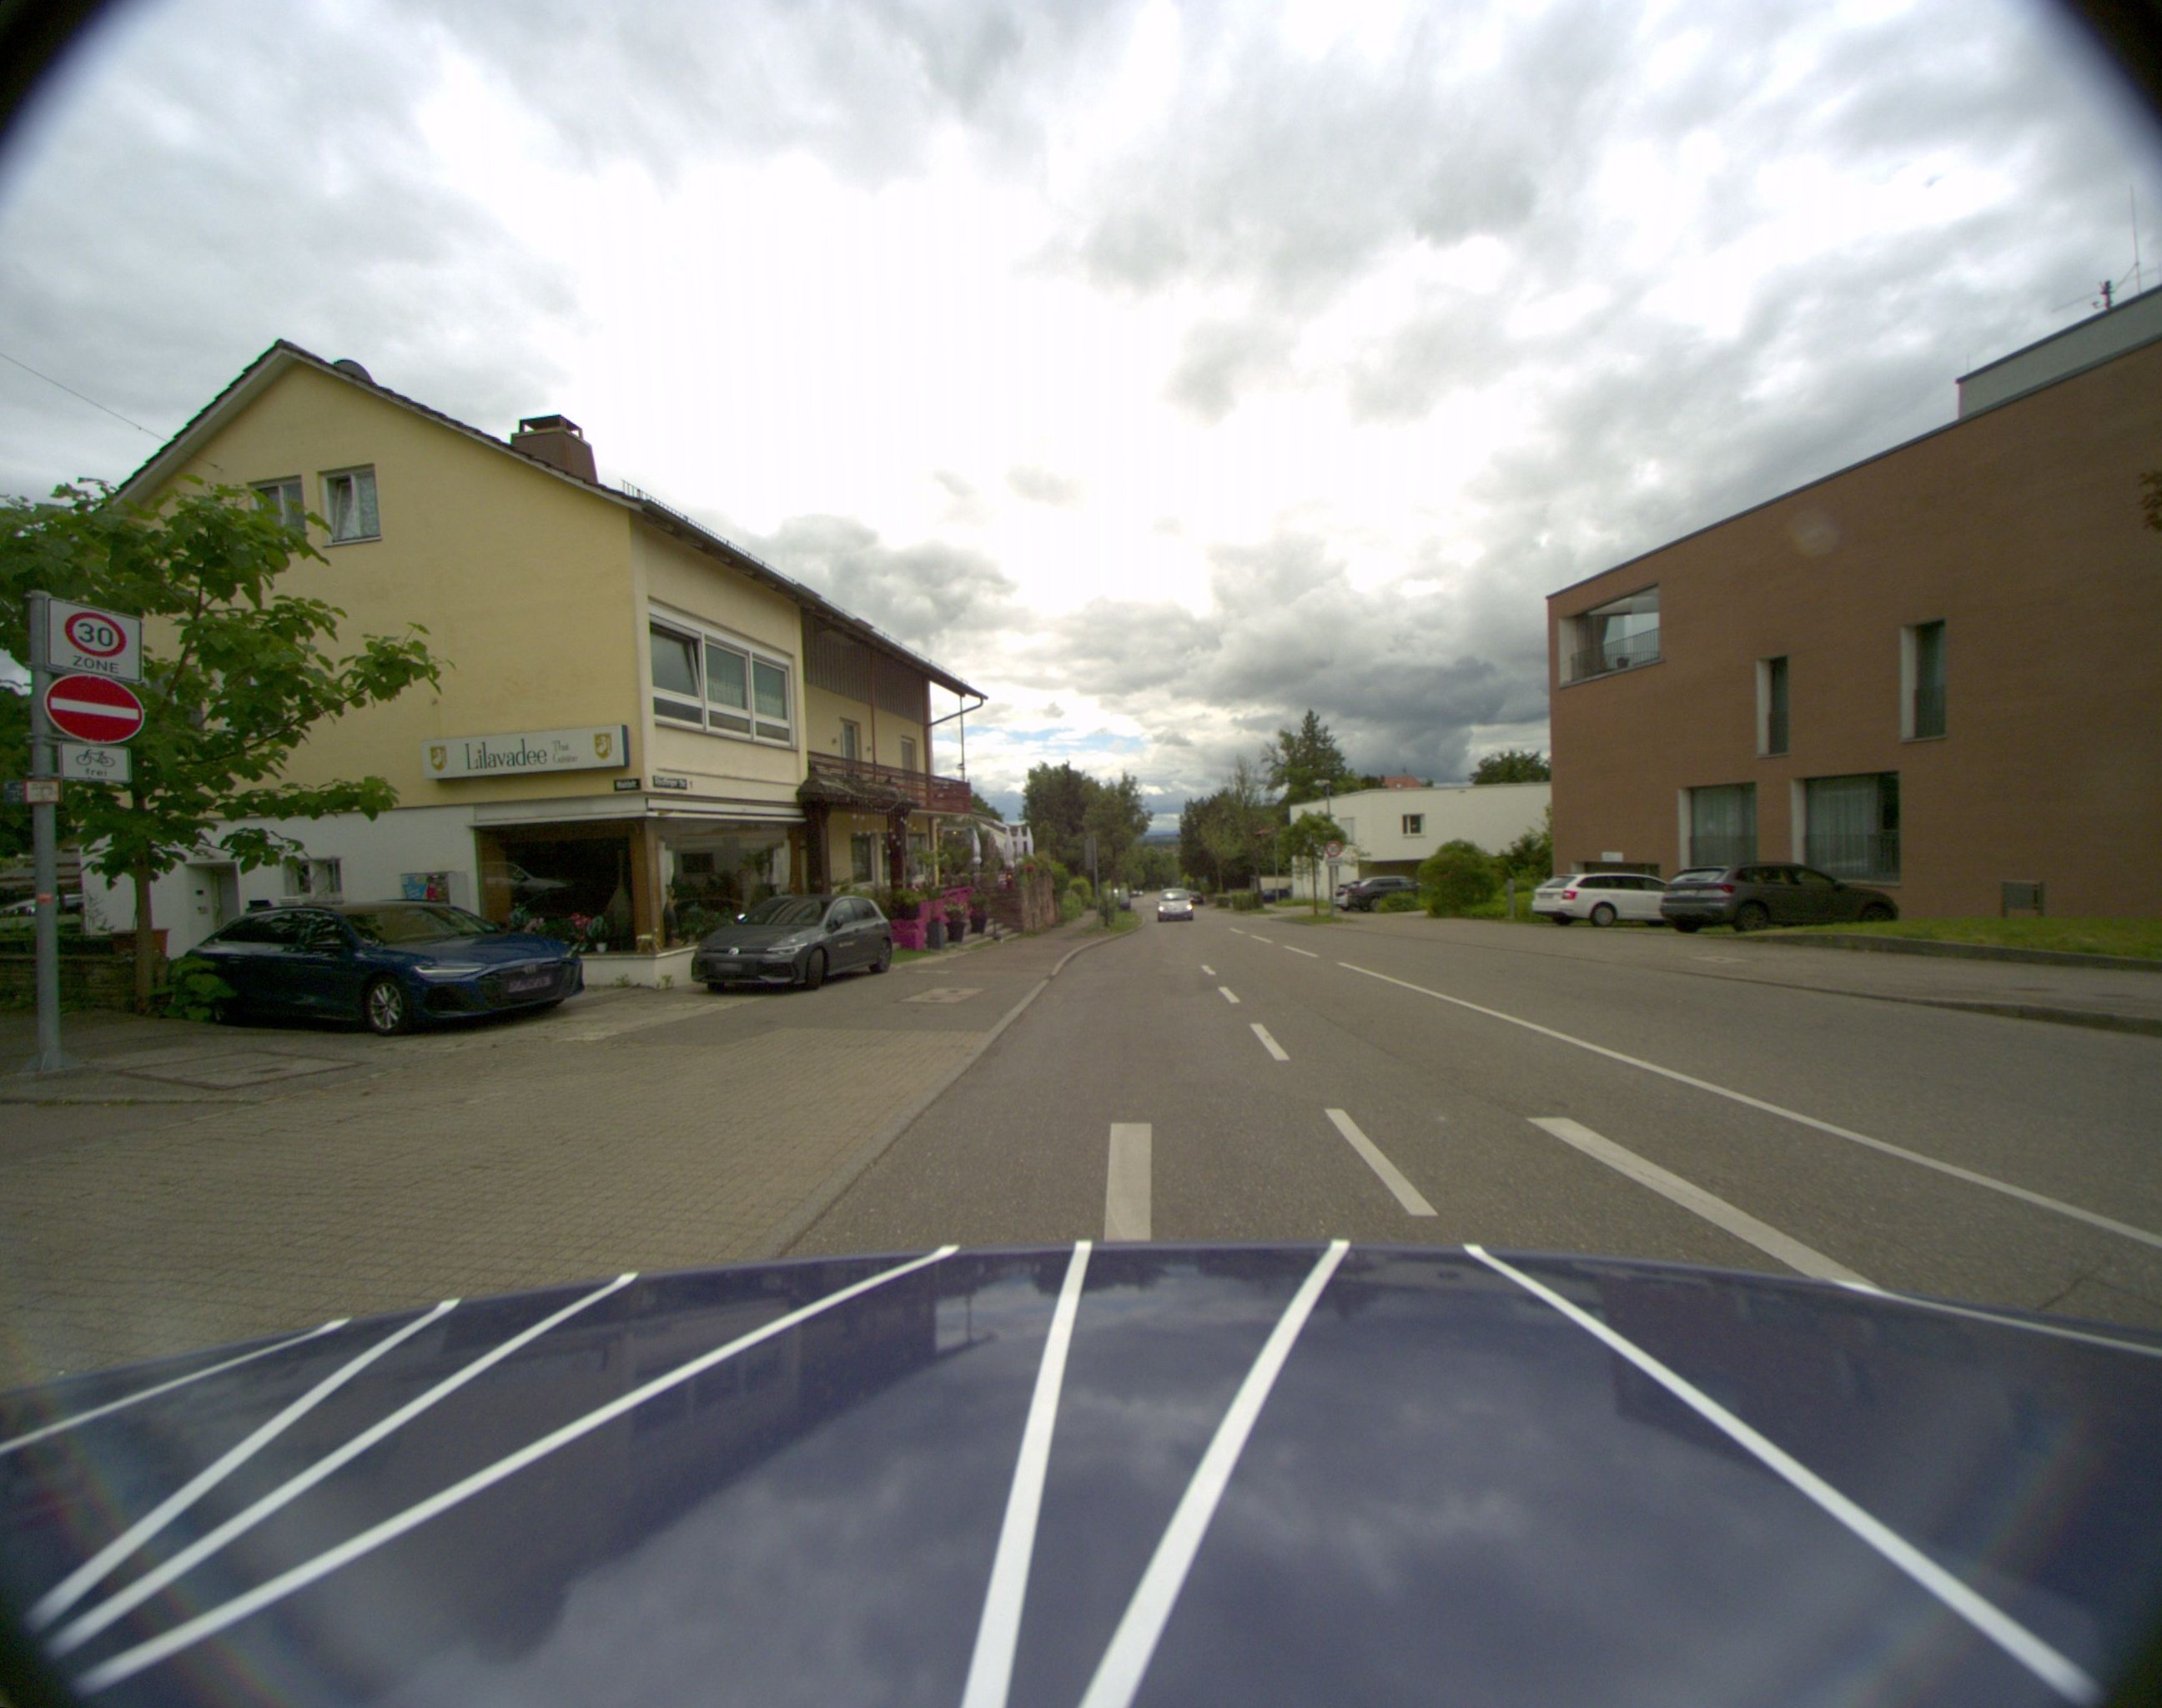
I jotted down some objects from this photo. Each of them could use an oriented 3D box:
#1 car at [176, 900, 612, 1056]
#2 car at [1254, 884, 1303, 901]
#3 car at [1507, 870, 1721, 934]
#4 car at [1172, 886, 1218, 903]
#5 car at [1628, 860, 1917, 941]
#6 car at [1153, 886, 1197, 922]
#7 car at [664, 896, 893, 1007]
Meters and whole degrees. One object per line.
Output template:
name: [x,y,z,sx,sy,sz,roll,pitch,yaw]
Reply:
car: [-8.192,1.372,9.175,4.220,1.519,1.935,-2,-2,16]
car: [19.992,3.921,77.029,4.434,1.548,2.000,-1,-1,-1]
car: [14.408,1.266,20.741,4.434,1.548,2.000,-1,-1,-1]
car: [11.731,4.165,78.429,4.434,1.548,2.000,-2,-1,-1]
car: [14.772,0.960,16.424,4.434,1.548,2.000,-1,-1,-1]
car: [4.686,2.491,38.115,1.998,1.585,4.004,-3,-3,6]
car: [-4.696,1.460,12.481,1.873,1.483,3.887,-2,-3,6]
